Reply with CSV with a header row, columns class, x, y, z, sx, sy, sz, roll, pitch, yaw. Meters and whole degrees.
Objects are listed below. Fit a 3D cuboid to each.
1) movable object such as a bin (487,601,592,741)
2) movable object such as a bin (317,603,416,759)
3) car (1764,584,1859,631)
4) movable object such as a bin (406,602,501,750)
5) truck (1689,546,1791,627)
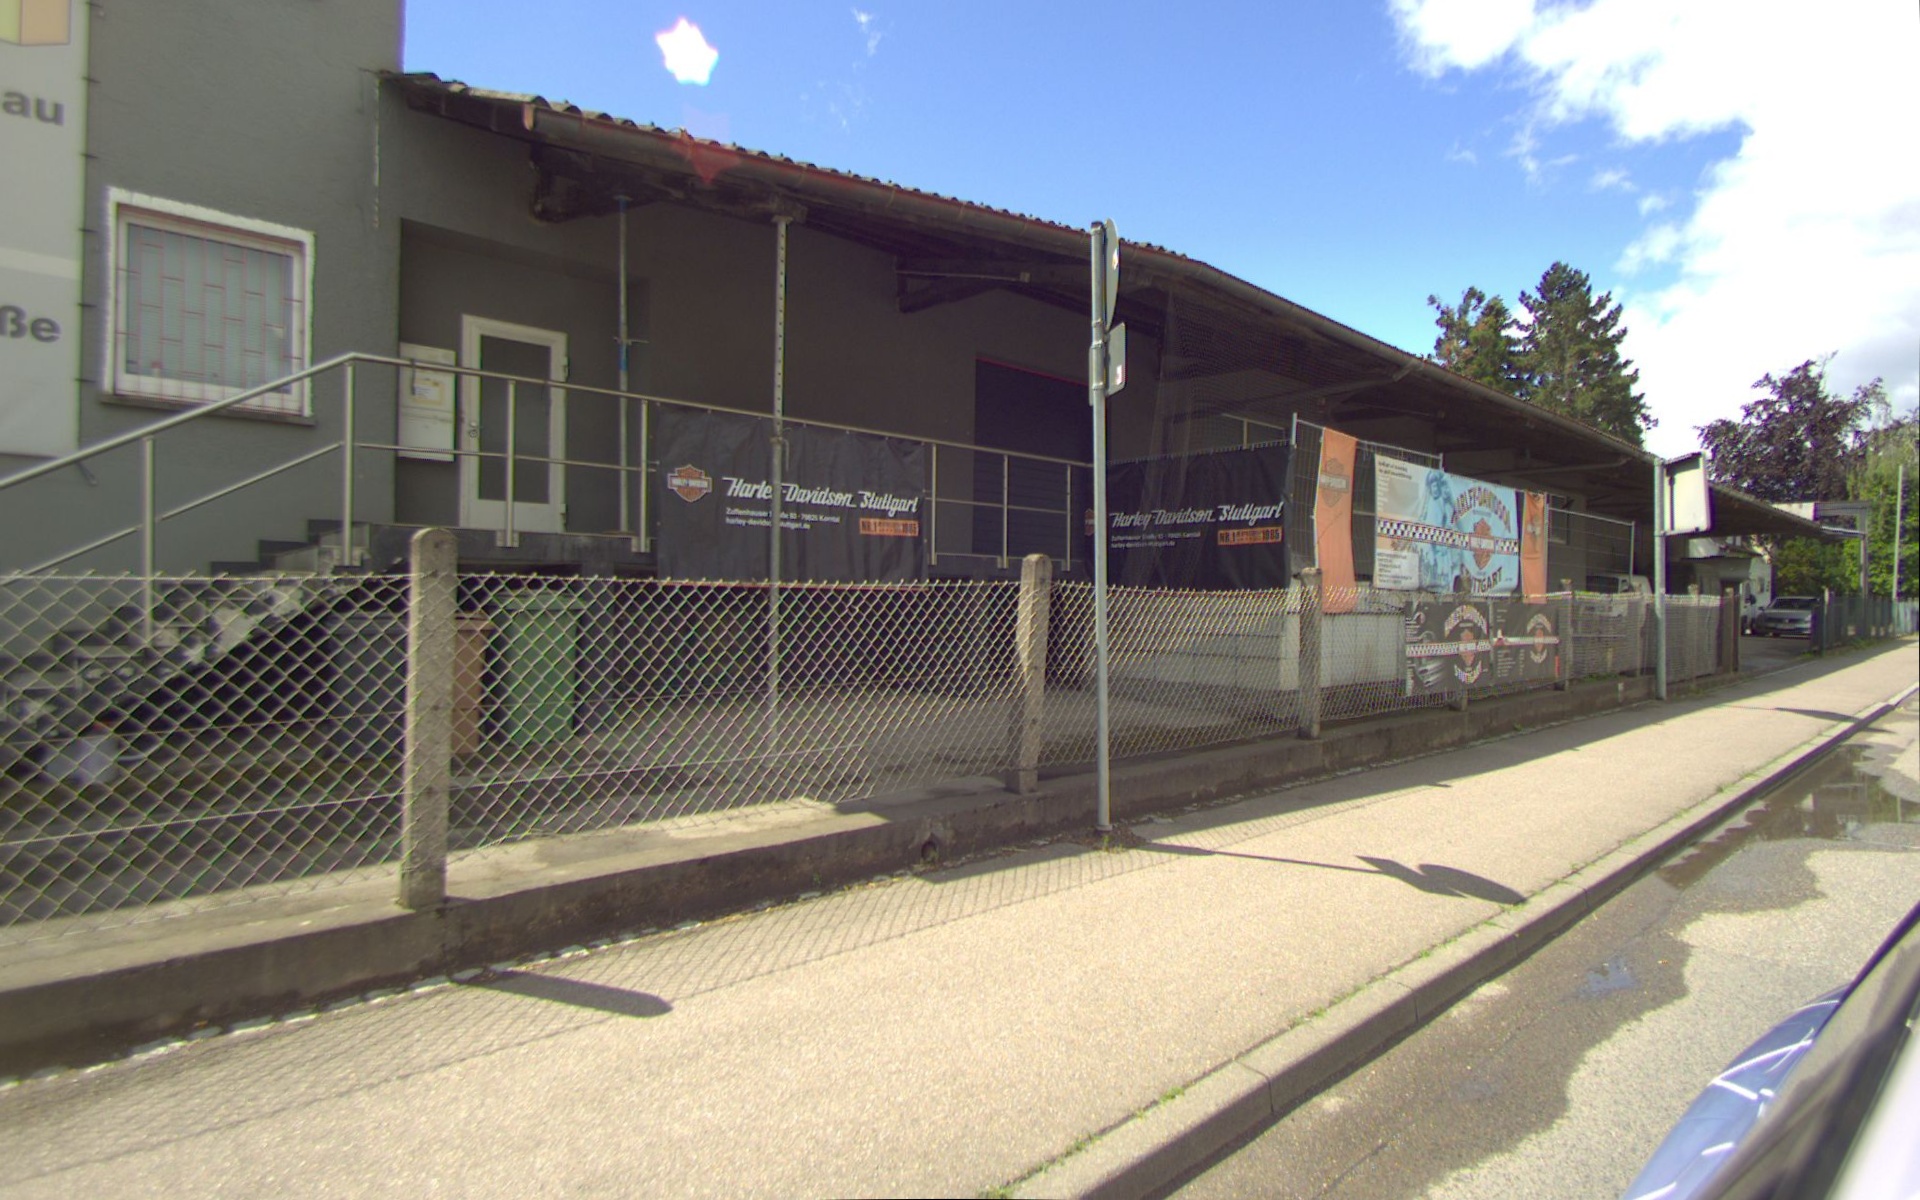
class,x,y,z,sx,sy,sz,roll,pitch,yaw
movable object such as a bin,-3.013,0.485,7.252,0.574,0.942,0.482,0,0,-42
movable object such as a bin,-3.821,0.496,6.510,0.466,0.942,0.482,0,0,-42
car,29.864,0.217,35.438,5.114,1.549,1.860,-1,1,-42
movable object such as a bin,-3.438,0.491,6.860,0.466,0.942,0.482,0,0,-42
truck,29.518,-0.524,38.227,5.112,2.864,2.089,-1,0,-41
